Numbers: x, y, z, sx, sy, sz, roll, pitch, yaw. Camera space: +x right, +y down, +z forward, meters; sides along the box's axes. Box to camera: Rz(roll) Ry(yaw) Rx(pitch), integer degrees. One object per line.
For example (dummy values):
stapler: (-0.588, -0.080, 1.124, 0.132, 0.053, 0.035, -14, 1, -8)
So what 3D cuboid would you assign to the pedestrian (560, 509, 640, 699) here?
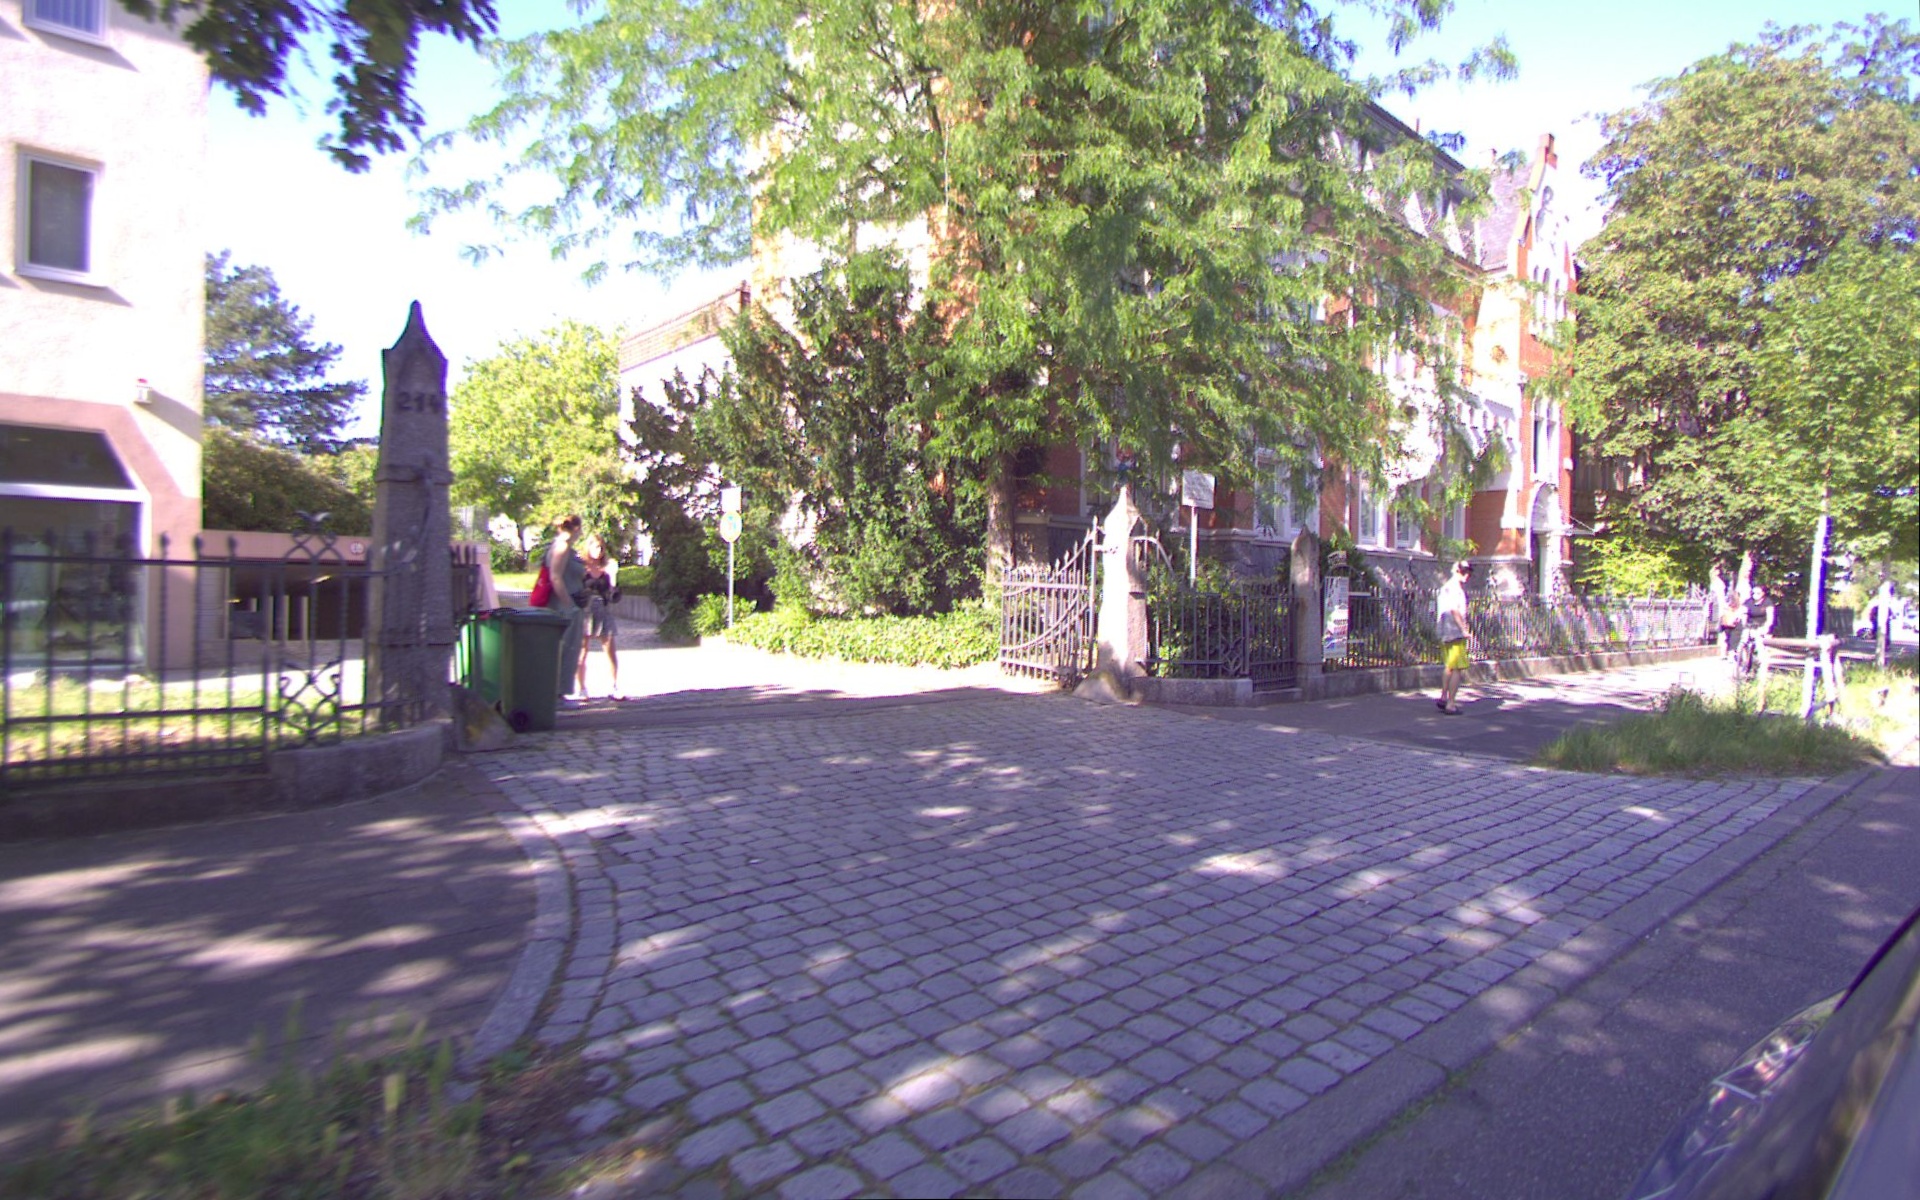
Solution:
pedestrian: (-3.407, 0.031, 9.585, 0.538, 1.731, 0.507, 2, 1, 43)

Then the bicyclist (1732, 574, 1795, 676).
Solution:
bicyclist: (14.053, 0.419, 17.703, 0.874, 1.716, 0.646, 1, 2, -42)

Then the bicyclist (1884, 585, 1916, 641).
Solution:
bicyclist: (29.702, 0.405, 31.982, 0.807, 1.711, 0.621, 1, 3, -45)

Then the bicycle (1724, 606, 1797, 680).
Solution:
bicycle: (14.017, 0.724, 17.694, 1.811, 1.191, 0.654, 0, 3, -42)

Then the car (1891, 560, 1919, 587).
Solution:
car: (56.256, -1.527, 59.652, 1.843, 1.458, 4.039, 4, 3, 45)

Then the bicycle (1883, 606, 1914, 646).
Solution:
bicycle: (29.663, 0.796, 31.978, 0.616, 1.191, 1.888, 5, 3, 45)

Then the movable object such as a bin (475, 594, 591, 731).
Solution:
movable object such as a bin: (-3.318, 0.457, 7.861, 0.656, 0.977, 0.626, 0, 2, -42)

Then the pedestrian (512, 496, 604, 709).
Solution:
pedestrian: (-3.521, 0.009, 8.893, 0.524, 1.800, 0.541, 1, 1, 12)

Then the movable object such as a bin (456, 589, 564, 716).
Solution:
movable object such as a bin: (-3.753, 0.409, 8.435, 0.656, 0.977, 0.626, 0, 2, -42)

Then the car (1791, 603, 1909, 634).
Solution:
car: (47.137, 0.966, 53.670, 2.011, 1.435, 4.417, 0, 1, -39)

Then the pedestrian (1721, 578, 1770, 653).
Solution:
pedestrian: (18.283, 0.336, 23.558, 0.806, 1.678, 0.696, -1, 3, -42)

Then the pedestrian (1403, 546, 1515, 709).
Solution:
pedestrian: (5.758, 0.291, 11.723, 0.794, 1.809, 0.751, 2, 2, -7)
